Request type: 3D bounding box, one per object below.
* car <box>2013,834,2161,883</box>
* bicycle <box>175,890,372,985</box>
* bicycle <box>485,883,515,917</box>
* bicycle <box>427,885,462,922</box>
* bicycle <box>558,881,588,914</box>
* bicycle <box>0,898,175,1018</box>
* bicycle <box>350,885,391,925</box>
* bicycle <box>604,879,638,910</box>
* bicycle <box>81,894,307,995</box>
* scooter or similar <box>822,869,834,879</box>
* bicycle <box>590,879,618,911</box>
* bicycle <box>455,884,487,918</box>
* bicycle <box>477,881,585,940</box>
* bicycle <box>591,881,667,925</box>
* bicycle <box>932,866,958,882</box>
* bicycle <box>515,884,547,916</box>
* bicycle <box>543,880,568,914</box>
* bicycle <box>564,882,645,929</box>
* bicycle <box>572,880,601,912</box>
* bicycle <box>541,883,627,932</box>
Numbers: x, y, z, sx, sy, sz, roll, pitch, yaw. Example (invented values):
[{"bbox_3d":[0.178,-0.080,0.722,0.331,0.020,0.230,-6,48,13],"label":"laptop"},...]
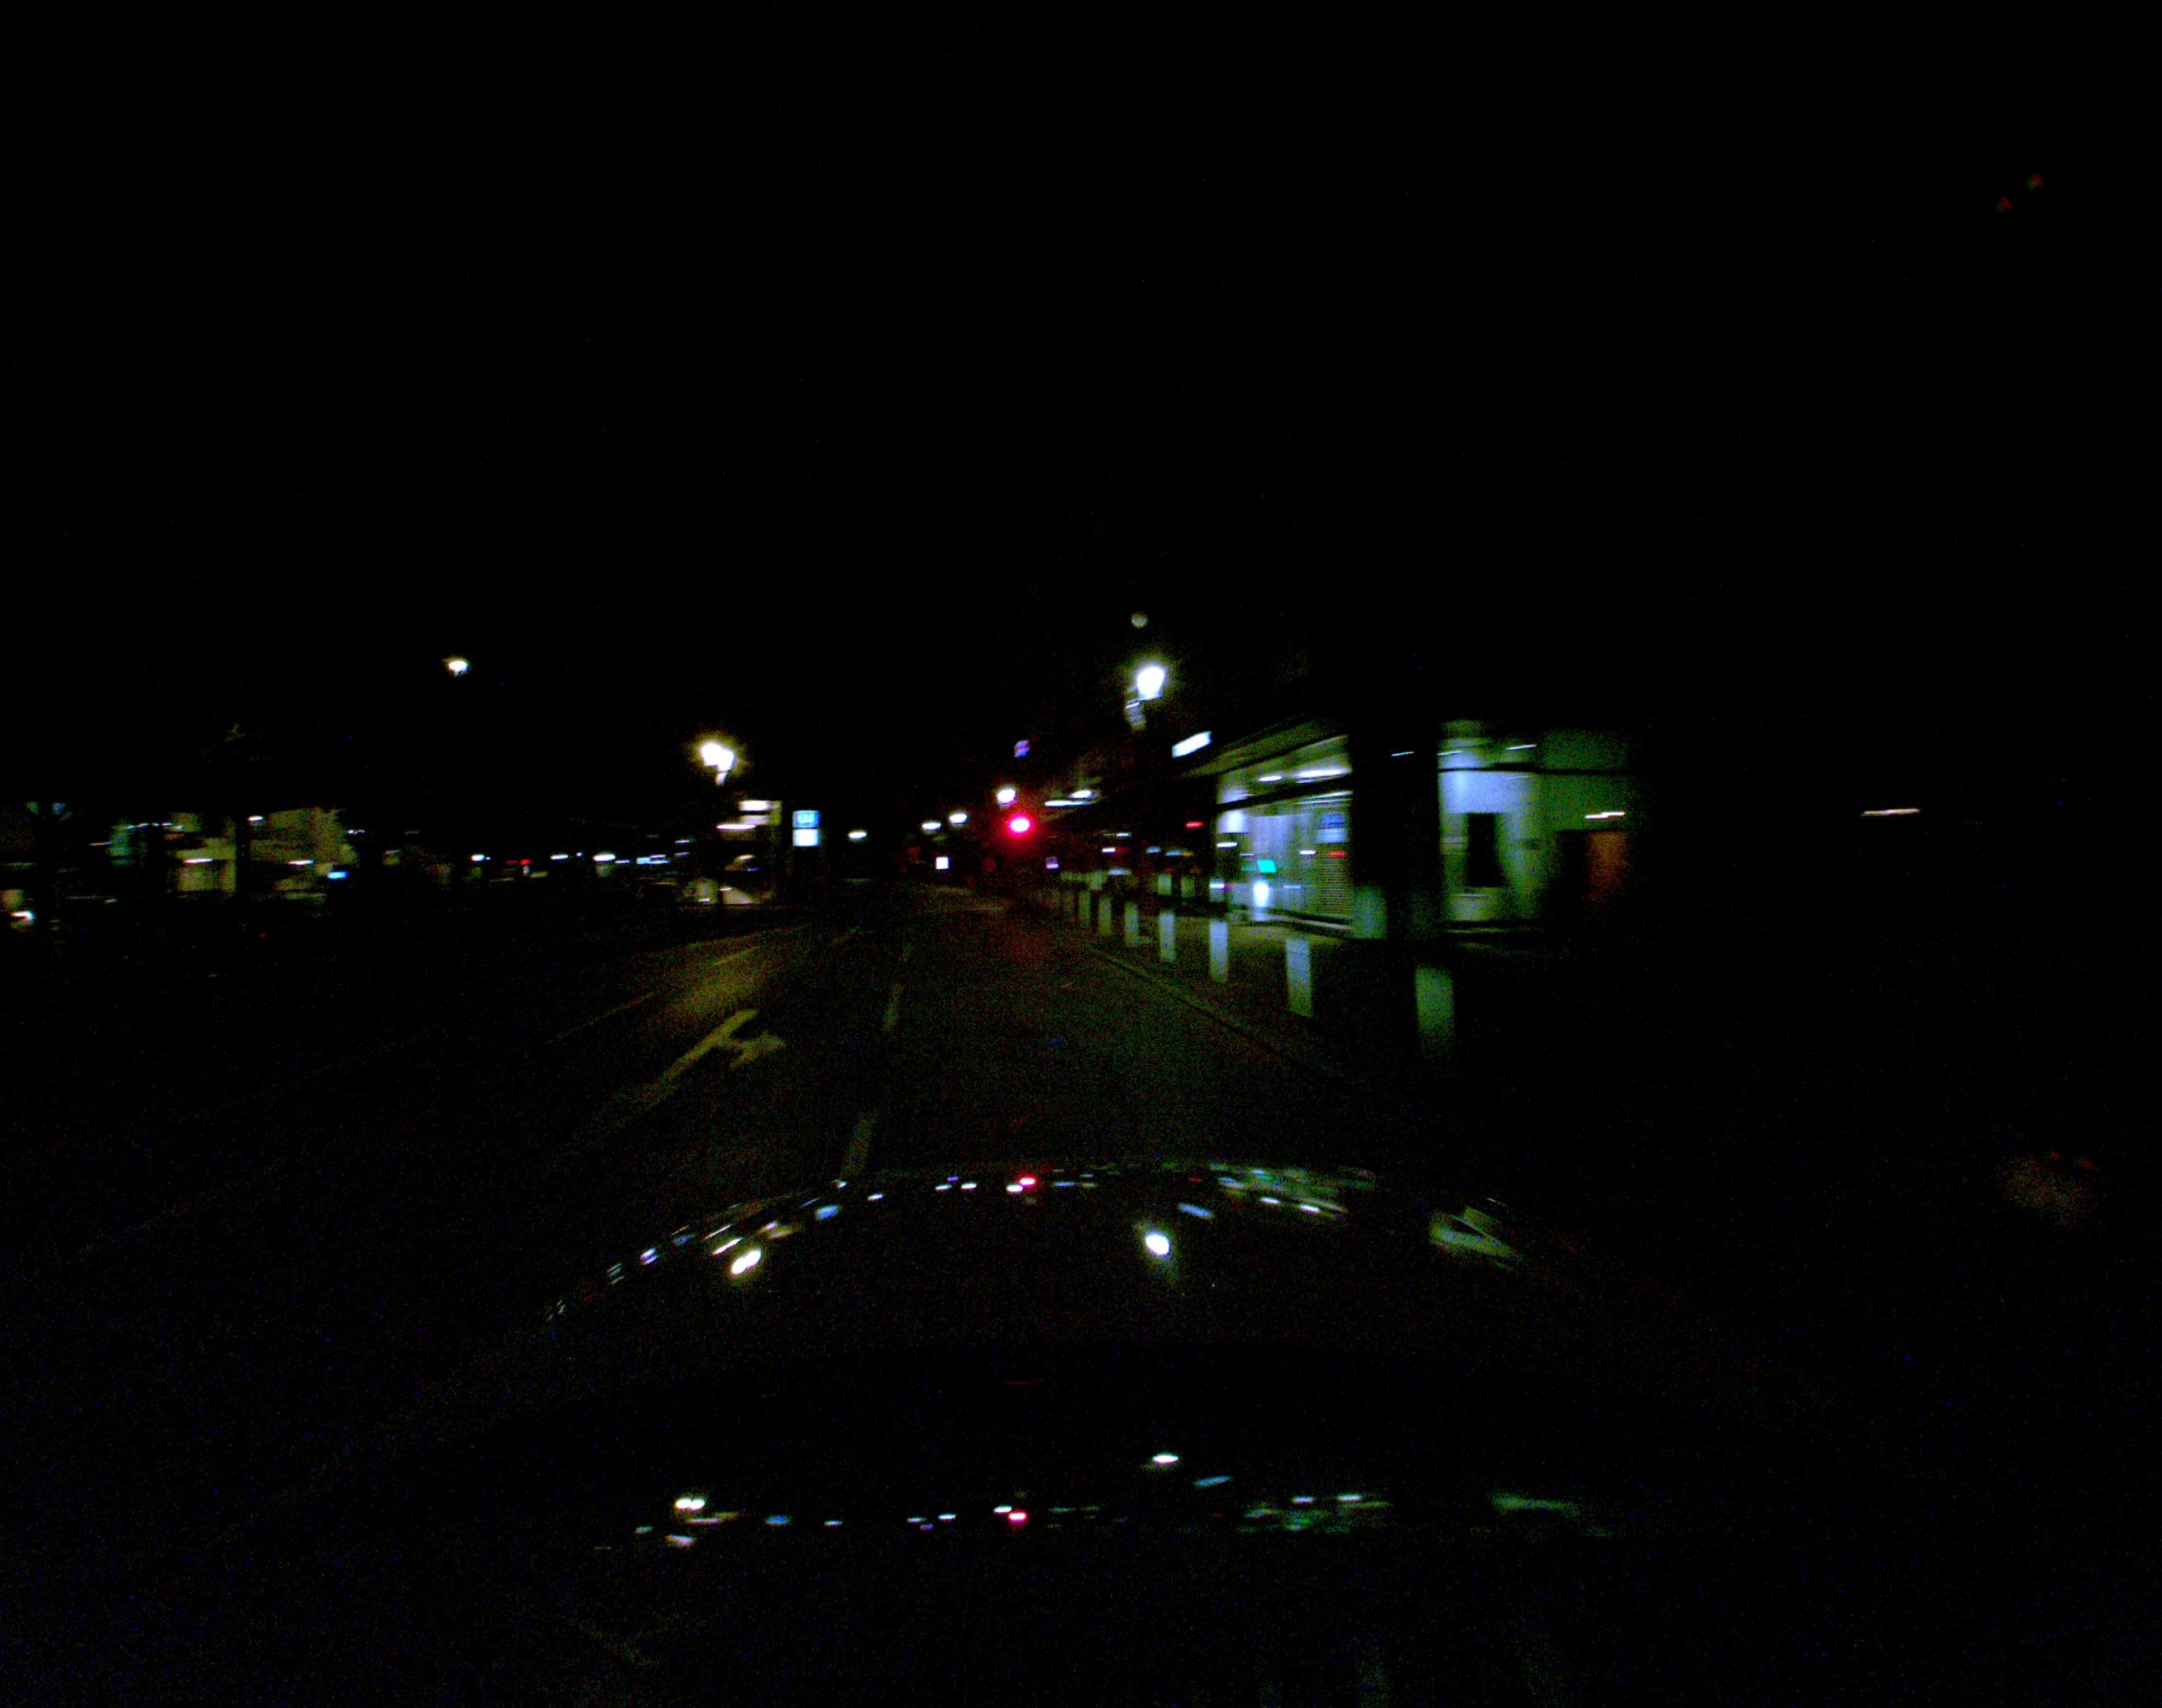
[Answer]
[{"bbox_3d":[33.872,0.131,27.308,3.995,1.451,1.914,-2,1,-16],"label":"car"},{"bbox_3d":[-10.735,1.099,10.884,1.732,1.166,0.786,1,-1,-5],"label":"bicycle"},{"bbox_3d":[-21.014,1.651,29.457,0.610,1.125,1.731,-2,1,-27],"label":"bicycle"},{"bbox_3d":[-22.196,1.698,28.417,0.610,1.165,1.731,-2,1,-27],"label":"bicycle"},{"bbox_3d":[-18.947,1.604,30.344,0.612,1.165,1.726,-2,1,-42],"label":"bicycle"},{"bbox_3d":[-10.897,1.060,8.492,1.831,1.157,0.785,1,-2,-5],"label":"bicycle"},{"bbox_3d":[-23.745,1.693,27.231,0.610,1.218,1.731,-2,1,-27],"label":"bicycle"},{"bbox_3d":[-18.228,1.582,32.265,0.765,1.162,1.726,-2,1,-42],"label":"bicycle"},{"bbox_3d":[-10.756,1.085,9.937,1.732,1.157,0.785,1,-2,-5],"label":"bicycle"},{"bbox_3d":[-30.920,2.391,99.482,1.256,1.227,0.591,1,-1,-38],"label":"scooter or similar"},{"bbox_3d":[-18.405,1.578,31.401,0.548,1.154,1.726,-2,1,-42],"label":"bicycle"},{"bbox_3d":[-21.872,1.668,29.218,0.610,1.100,1.731,-2,1,-27],"label":"bicycle"},{"bbox_3d":[-11.791,1.202,17.513,1.769,1.164,0.668,-1,-1,-10],"label":"bicycle"},{"bbox_3d":[-11.925,1.284,21.544,1.616,1.106,0.668,-1,-2,-10],"label":"bicycle"},{"bbox_3d":[-10.042,1.471,60.175,1.762,1.062,0.648,-1,0,-35],"label":"bicycle"},{"bbox_3d":[-20.249,1.682,29.949,1.725,1.069,0.612,-1,1,44],"label":"bicycle"},{"bbox_3d":[-20.005,1.625,31.028,0.610,1.165,1.732,-2,1,-27],"label":"bicycle"},{"bbox_3d":[-11.882,1.277,20.352,1.616,1.106,0.668,-1,-2,-10],"label":"bicycle"},{"bbox_3d":[-19.094,1.594,31.431,0.612,1.165,1.726,-2,1,-42],"label":"bicycle"},{"bbox_3d":[-11.925,1.268,19.582,1.616,1.106,0.668,-1,-2,-10],"label":"bicycle"}]
